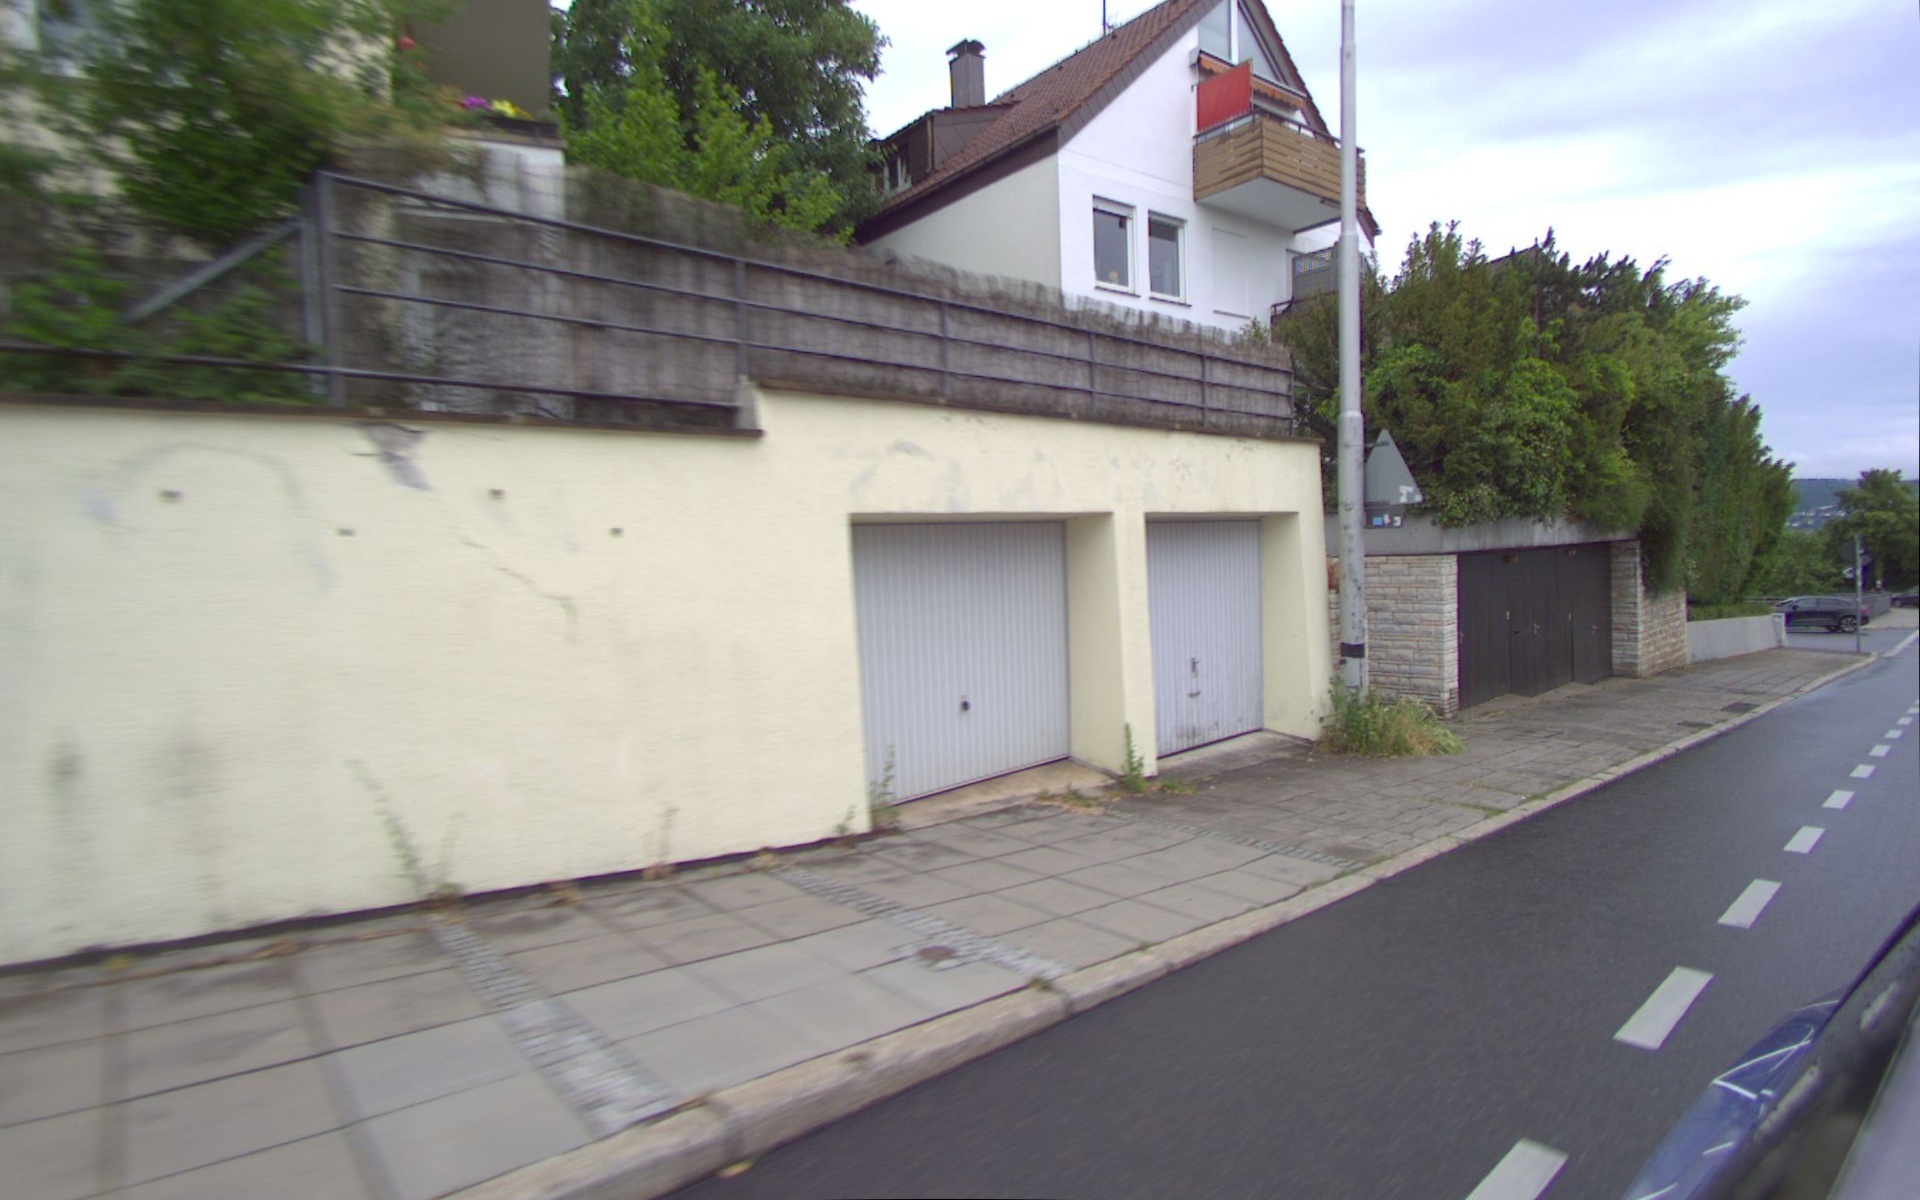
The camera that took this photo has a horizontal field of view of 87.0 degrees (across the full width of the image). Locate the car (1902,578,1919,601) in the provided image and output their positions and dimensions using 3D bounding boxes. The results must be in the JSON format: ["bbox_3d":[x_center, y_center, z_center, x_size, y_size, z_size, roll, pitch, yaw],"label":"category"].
[{"bbox_3d":[70.010,-0.706,72.280,1.707,1.564,4.001,1,3,1],"label":"car"}]

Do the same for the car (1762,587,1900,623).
[{"bbox_3d":[38.208,0.196,44.531,4.153,1.542,1.985,0,1,22],"label":"car"}]
